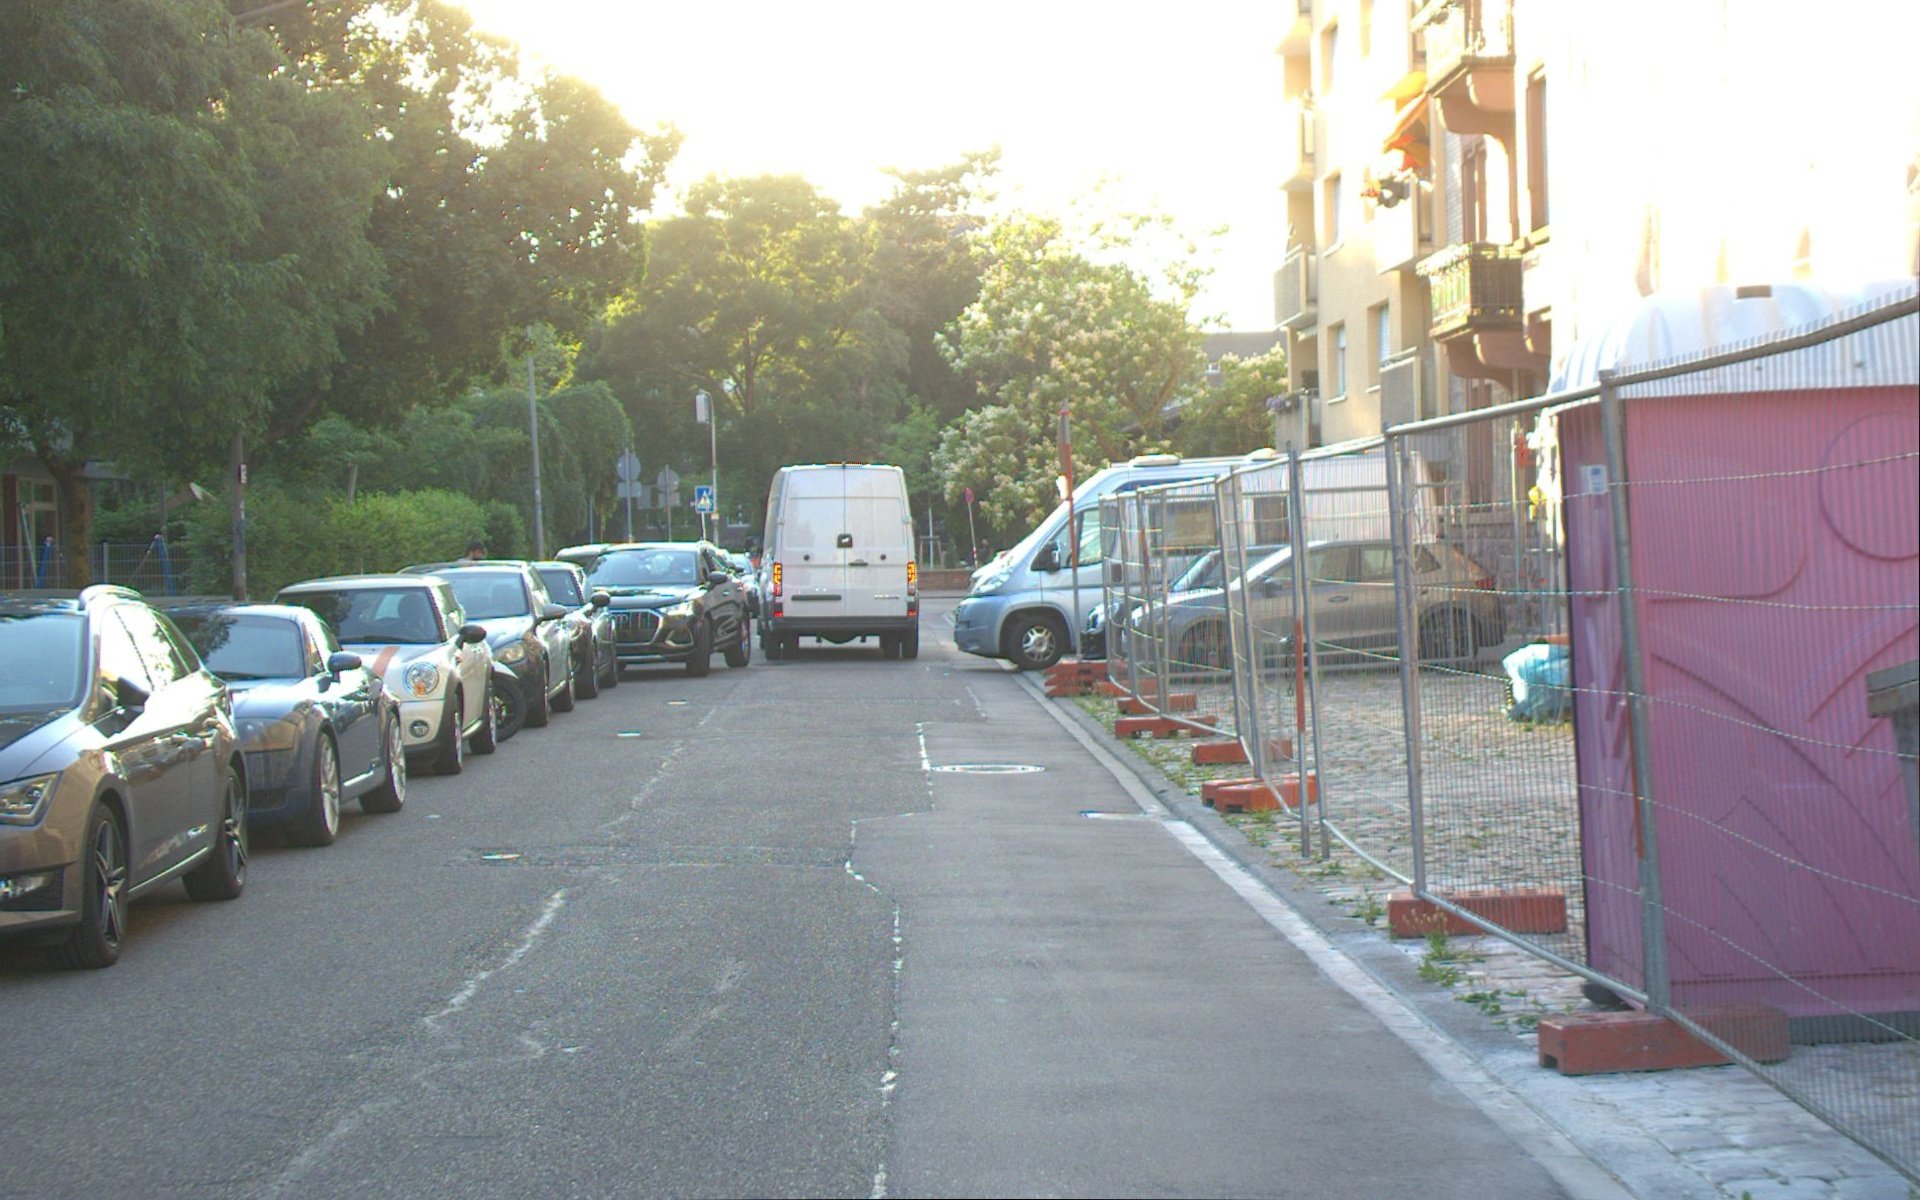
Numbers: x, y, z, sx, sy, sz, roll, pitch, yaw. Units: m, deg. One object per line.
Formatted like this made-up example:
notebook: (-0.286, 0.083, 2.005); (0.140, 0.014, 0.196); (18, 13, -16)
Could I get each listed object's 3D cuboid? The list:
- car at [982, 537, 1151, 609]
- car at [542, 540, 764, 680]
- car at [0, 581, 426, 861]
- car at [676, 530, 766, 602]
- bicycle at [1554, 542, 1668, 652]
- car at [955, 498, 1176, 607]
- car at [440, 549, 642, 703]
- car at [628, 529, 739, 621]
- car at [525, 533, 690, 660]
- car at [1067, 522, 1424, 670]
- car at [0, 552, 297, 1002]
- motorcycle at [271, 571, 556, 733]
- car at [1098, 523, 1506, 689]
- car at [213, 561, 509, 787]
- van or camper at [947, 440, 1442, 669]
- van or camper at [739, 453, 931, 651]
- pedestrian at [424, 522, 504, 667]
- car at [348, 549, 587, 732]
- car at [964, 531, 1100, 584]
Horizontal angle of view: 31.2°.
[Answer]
car: (2.535, -0.663, 82.952); (3.987, 1.722, 2.000); (0, 1, -1)
car: (-3.654, 0.072, 41.677); (1.804, 1.564, 4.564); (-1, 1, 6)
car: (-4.181, 0.605, 19.554); (1.659, 1.309, 4.155); (-2, 1, -1)
car: (-5.471, -0.796, 79.170); (1.993, 1.612, 4.001); (0, 1, -3)
bicycle: (7.141, -0.049, 37.794); (0.630, 1.164, 2.035); (0, 1, -7)
car: (2.178, -0.991, 71.824); (4.495, 2.223, 2.032); (0, 1, -2)
car: (-4.436, 0.235, 36.878); (1.637, 1.473, 3.993); (-2, 1, 0)
car: (-5.169, -0.485, 63.935); (1.993, 1.656, 4.001); (0, 1, -5)
car: (-4.911, -0.077, 48.388); (1.783, 1.625, 4.000); (-3, 1, 1)
car: (3.270, -0.041, 39.950); (3.935, 1.481, 1.787); (-3, 0, 0)
car: (-4.089, 0.609, 14.266); (1.859, 1.532, 4.759); (-2, 1, -2)
motorcycle: (-4.528, 0.414, 28.523); (2.165, 1.299, 0.879); (0, 1, 13)
car: (3.648, 0.042, 37.112); (3.986, 1.510, 2.020); (-3, 1, -5)
car: (-4.324, 0.481, 25.311); (1.601, 1.426, 3.804); (-4, 1, -3)
van or camper: (2.847, -0.563, 42.735); (5.928, 2.760, 2.110); (0, 1, -2)
van or camper: (-1.691, -0.683, 47.850); (2.453, 2.538, 6.084); (1, 1, -1)
pedestrian: (-6.312, -0.077, 43.781); (0.937, 1.824, 0.787); (0, 1, -3)
car: (-4.466, 0.315, 31.717); (1.715, 1.491, 4.361); (-2, 1, -3)
car: (2.193, -1.300, 105.220); (3.986, 1.612, 2.000); (0, 1, -5)
